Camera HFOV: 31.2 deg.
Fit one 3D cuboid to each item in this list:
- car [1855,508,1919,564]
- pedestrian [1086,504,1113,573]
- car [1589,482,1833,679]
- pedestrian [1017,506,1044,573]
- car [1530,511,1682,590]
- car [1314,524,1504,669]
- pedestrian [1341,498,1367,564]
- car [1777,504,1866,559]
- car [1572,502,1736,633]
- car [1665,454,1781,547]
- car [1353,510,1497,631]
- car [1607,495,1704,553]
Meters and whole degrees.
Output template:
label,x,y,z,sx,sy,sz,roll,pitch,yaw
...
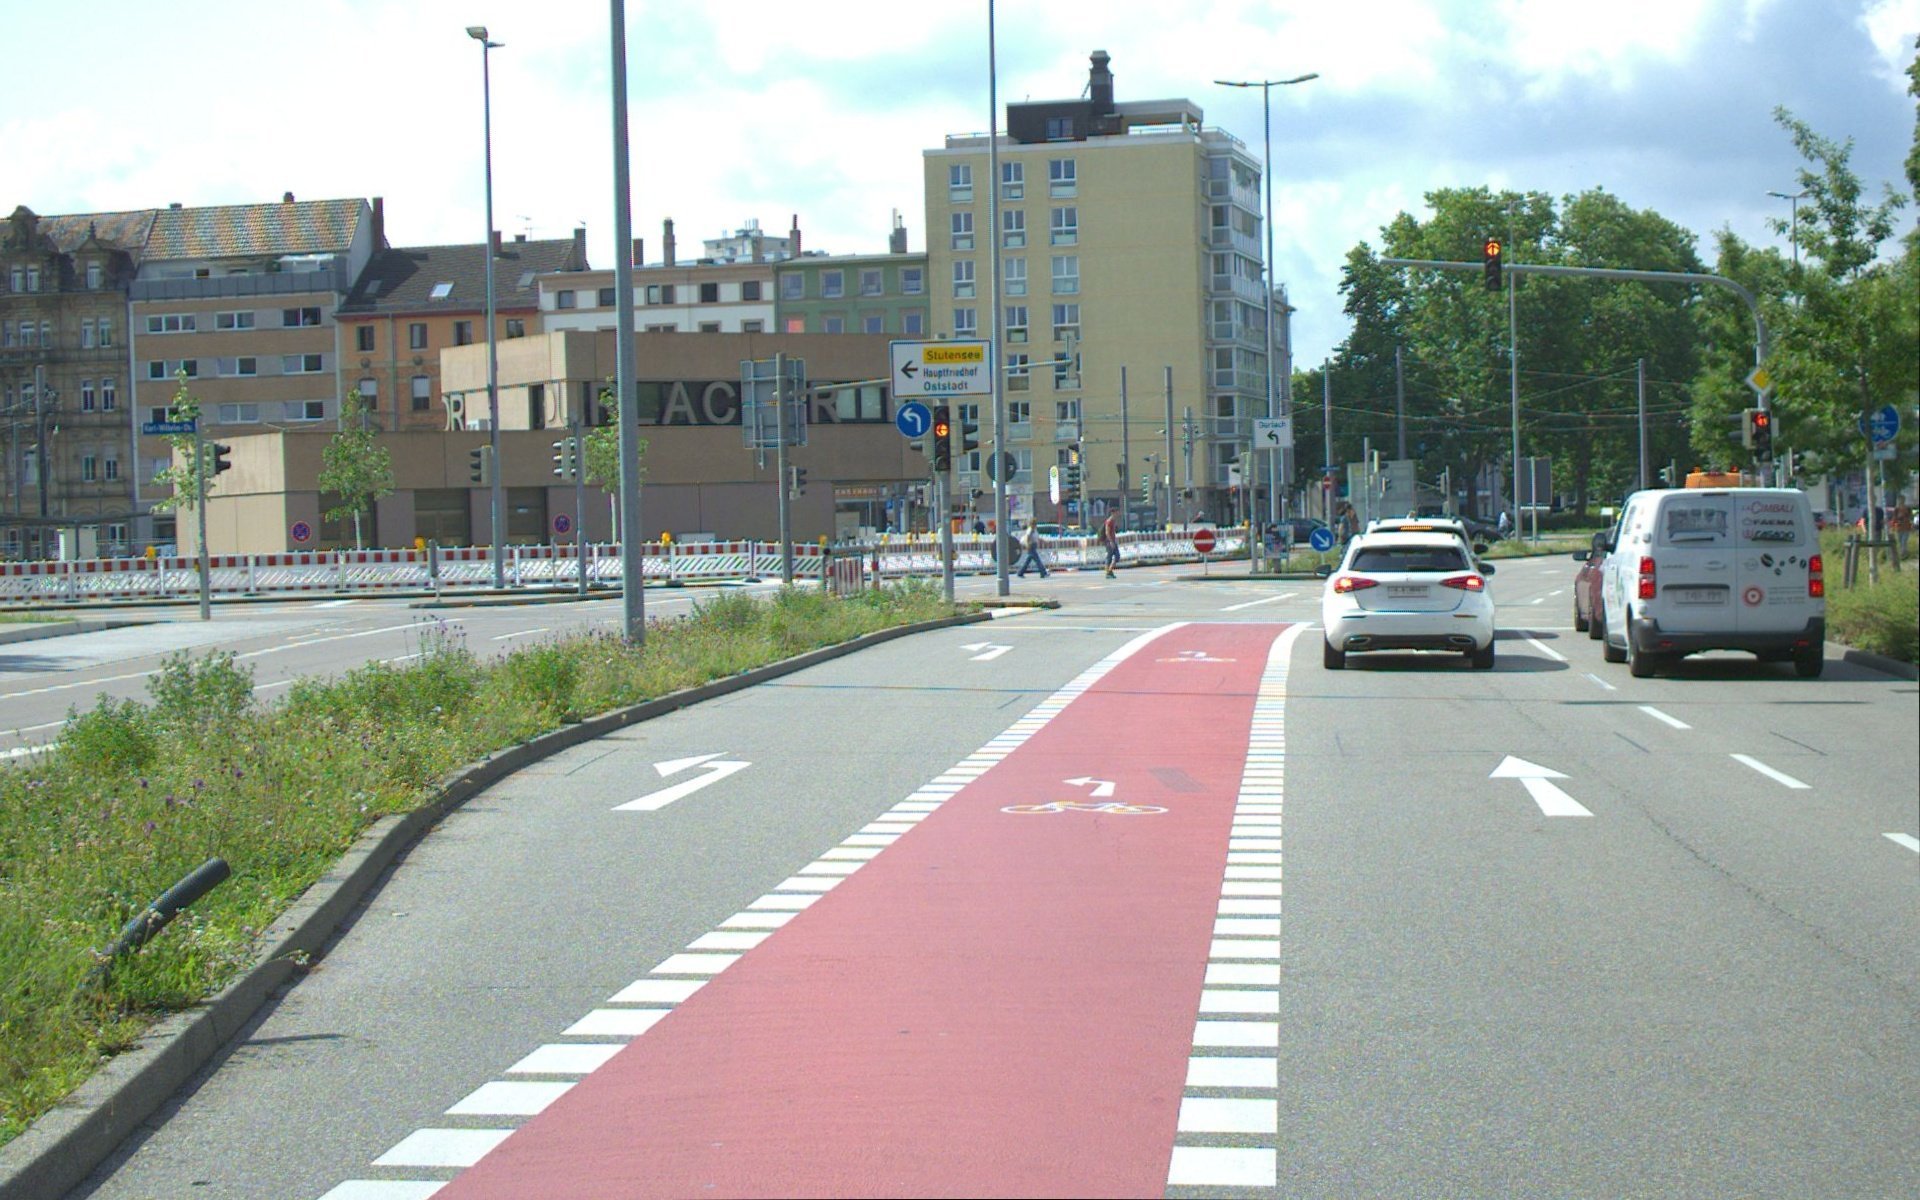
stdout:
label,x,y,z,sx,sy,sz,roll,pitch,yaw
car,34.476,-2.369,126.090,1.995,1.932,4.631,-1,1,30
pedestrian,3.548,-1.570,87.496,0.525,1.727,0.623,-1,1,15
car,7.677,-0.256,35.538,1.943,1.863,4.824,-1,2,6
pedestrian,1.833,-1.569,89.023,0.525,1.727,0.623,-1,1,15
car,15.747,-1.189,83.728,1.998,1.809,3.991,2,1,38
car,4.865,-0.083,37.560,1.904,1.419,4.384,-1,2,7
pedestrian,10.097,-1.778,88.079,0.525,1.678,0.623,-1,1,15
car,32.178,-2.575,128.292,1.995,1.932,4.631,-1,1,30
car,9.160,-0.466,45.630,1.681,1.635,4.462,-1,1,6
car,23.576,-3.074,106.082,2.133,2.771,4.631,-1,1,30
car,6.179,-0.434,46.017,1.791,1.534,4.010,0,2,6
car,24.841,-2.711,122.701,2.009,1.960,4.631,-1,1,30
